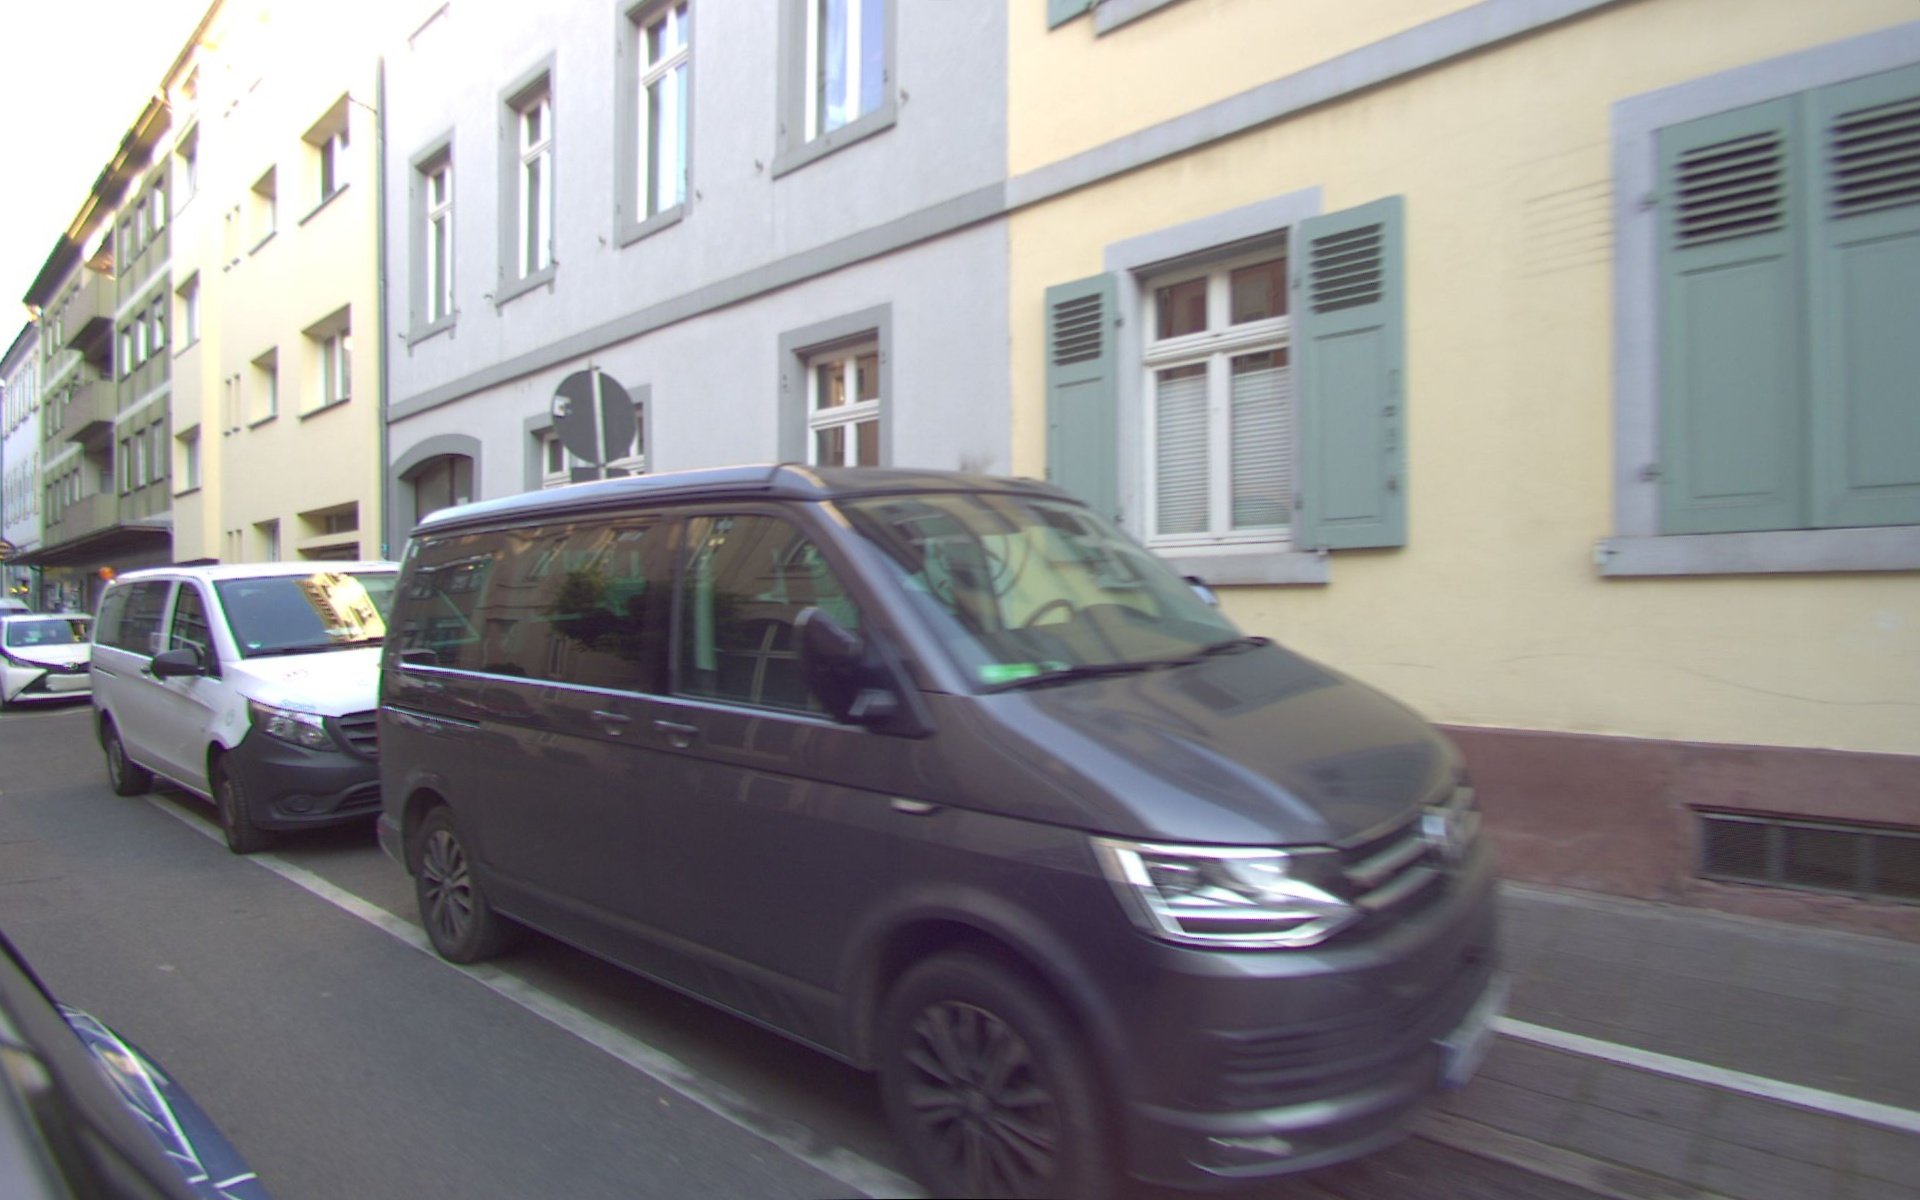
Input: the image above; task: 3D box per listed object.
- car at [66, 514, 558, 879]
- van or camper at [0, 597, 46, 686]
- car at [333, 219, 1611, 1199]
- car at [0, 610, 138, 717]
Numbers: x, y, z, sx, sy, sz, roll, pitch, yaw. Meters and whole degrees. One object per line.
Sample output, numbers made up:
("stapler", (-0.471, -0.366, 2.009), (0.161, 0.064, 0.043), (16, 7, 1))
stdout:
("car", (-5.335, 0.577, 7.986), (5.102, 2.029, 1.844), (-1, -1, 40))
("van or camper", (-21.731, 0.894, 22.446), (4.177, 1.862, 1.753), (-1, -1, 42))
("car", (-0.490, 0.445, 3.867), (4.810, 2.029, 1.844), (-1, -1, 40))
("car", (-14.880, 0.950, 16.508), (3.519, 1.459, 1.645), (-1, 3, 41))
